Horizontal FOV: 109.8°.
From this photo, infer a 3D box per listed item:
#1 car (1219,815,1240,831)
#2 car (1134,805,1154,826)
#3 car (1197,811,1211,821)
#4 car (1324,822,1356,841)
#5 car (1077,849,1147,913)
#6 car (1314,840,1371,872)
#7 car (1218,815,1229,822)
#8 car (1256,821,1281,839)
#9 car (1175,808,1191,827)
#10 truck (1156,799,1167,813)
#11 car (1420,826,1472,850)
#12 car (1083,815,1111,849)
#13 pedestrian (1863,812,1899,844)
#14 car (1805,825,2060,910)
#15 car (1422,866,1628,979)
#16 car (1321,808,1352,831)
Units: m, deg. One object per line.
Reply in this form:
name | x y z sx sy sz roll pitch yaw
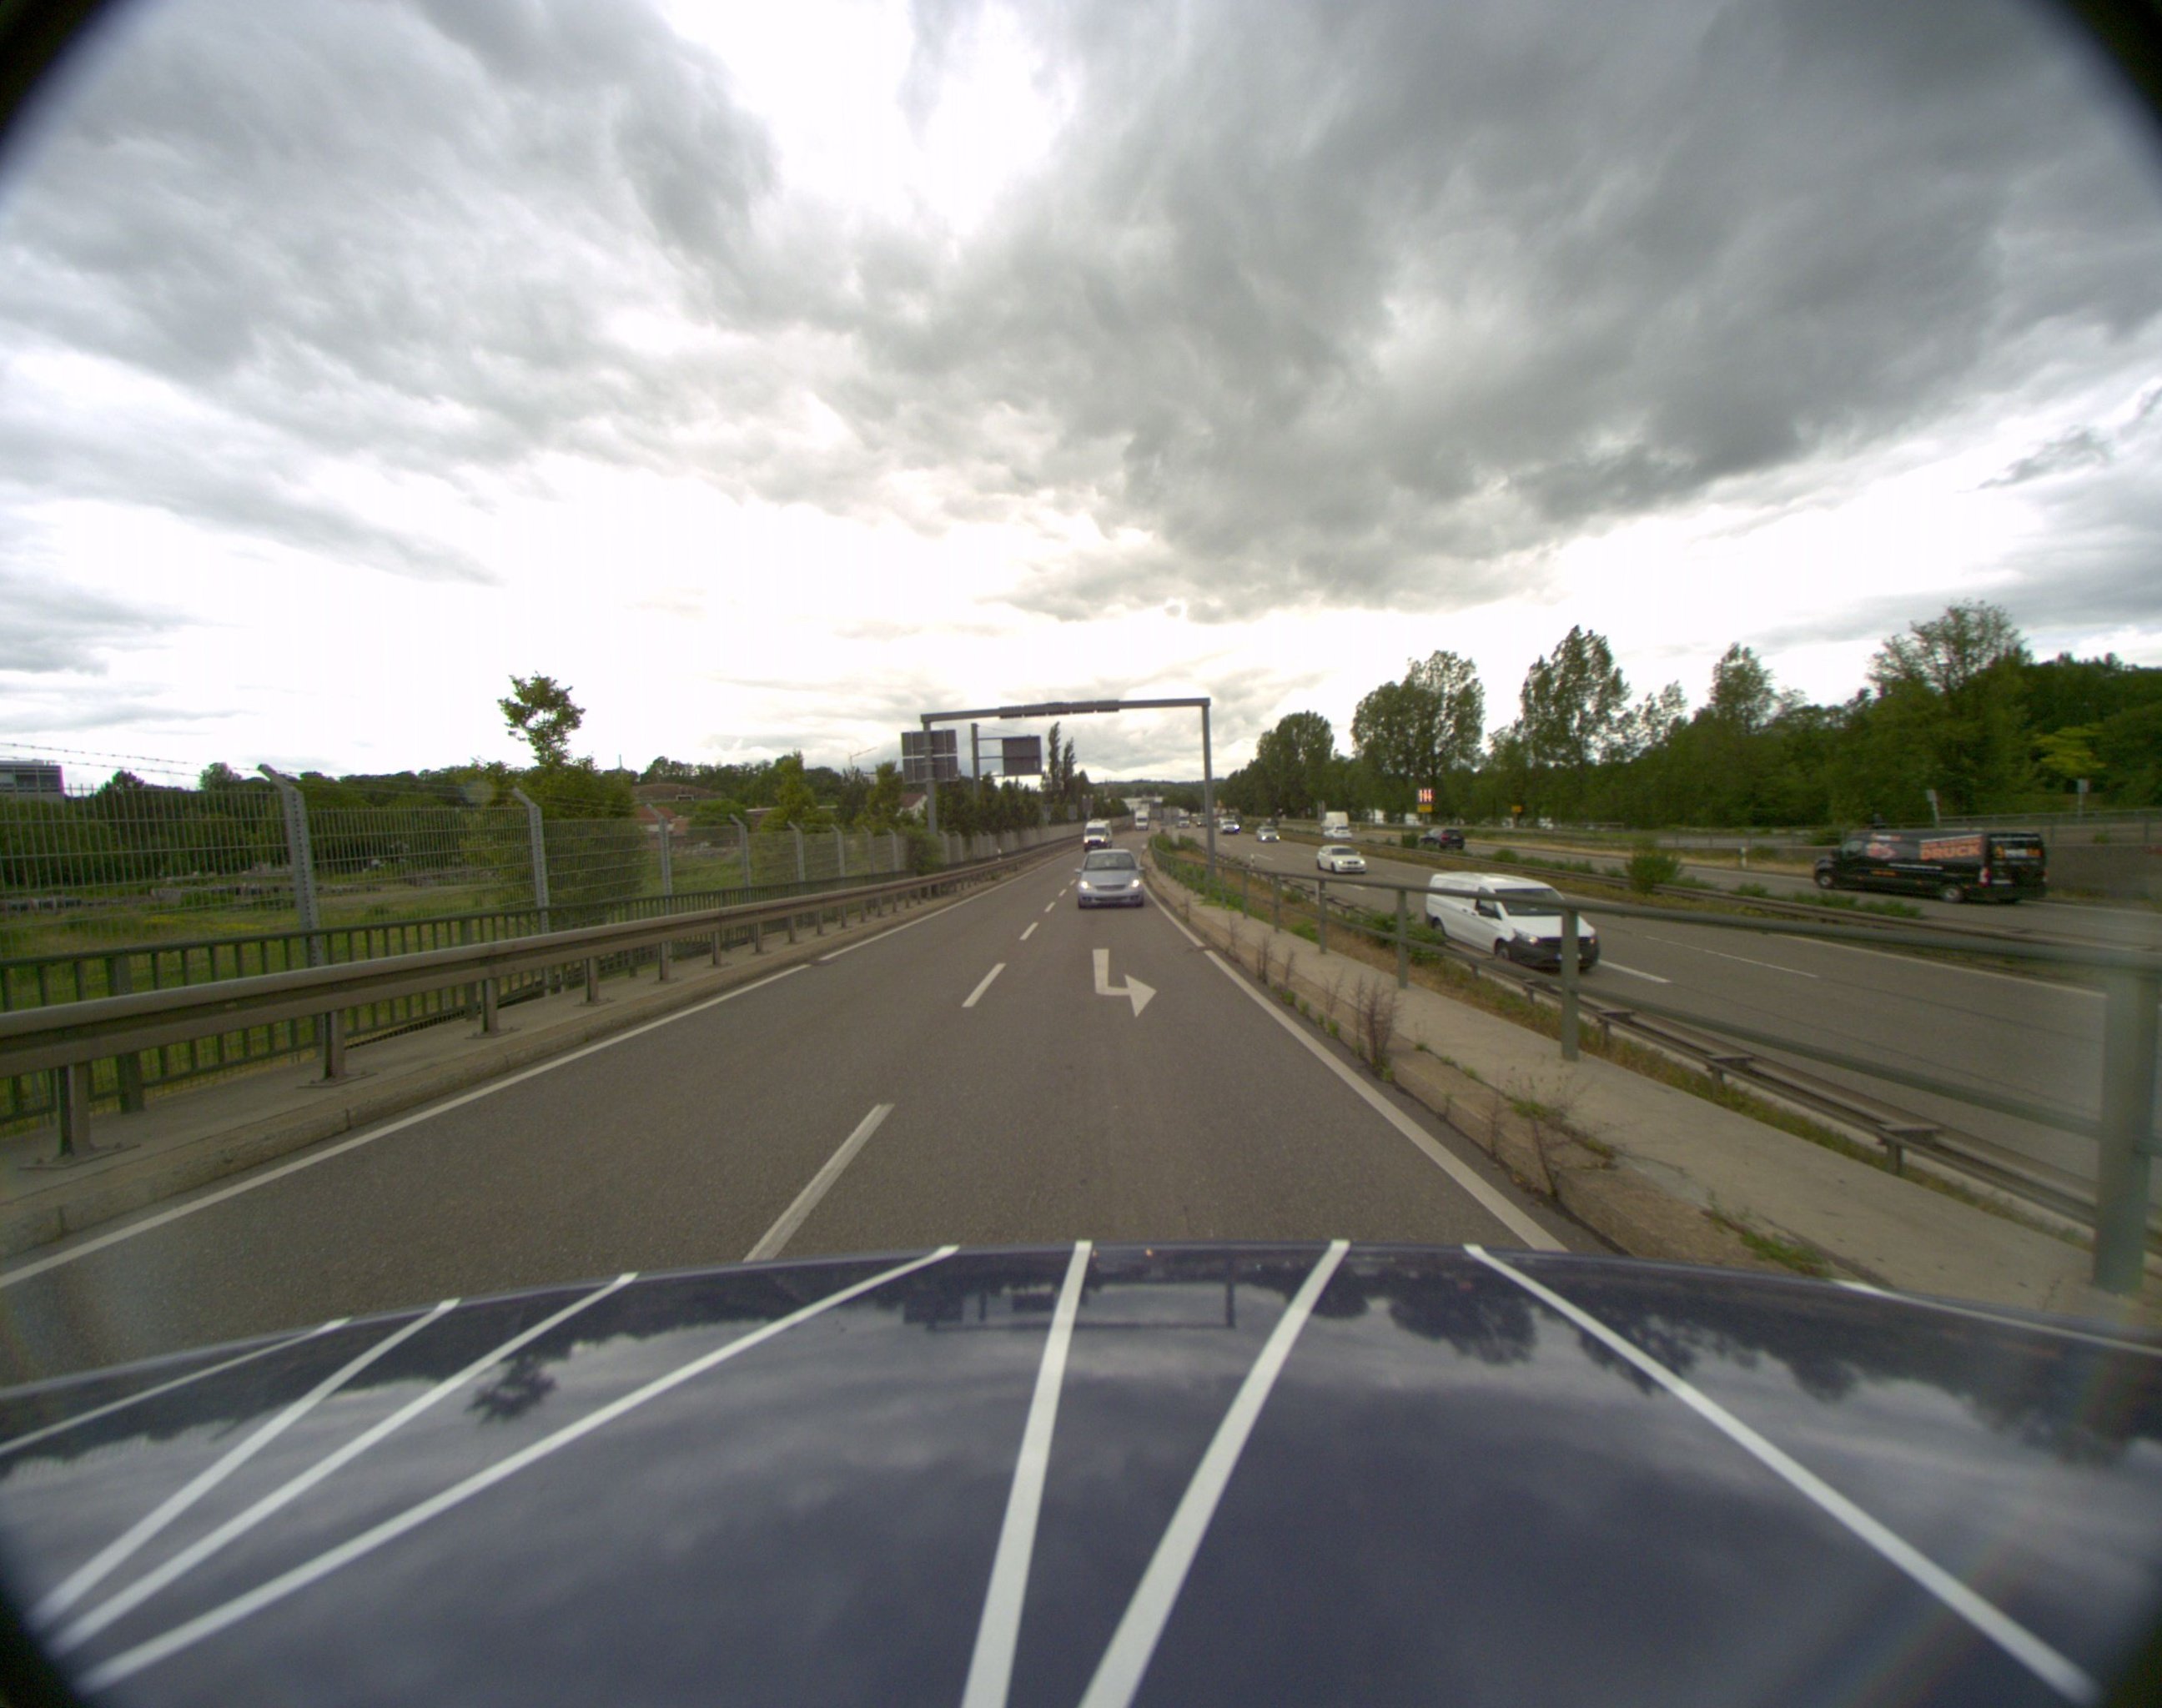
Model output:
car | 19.133 -4.020 97.865 1.954 1.925 4.893 -2 4 3
car | 10.656 -6.400 127.849 2.663 3.311 7.093 -2 2 10
car | 22.705 -7.016 140.162 1.845 1.704 4.276 -3 4 0
car | 24.896 -2.169 73.193 1.761 1.641 3.929 -2 4 0
car | 0.819 0.678 21.730 1.781 1.578 3.999 -2 1 0
car | 14.341 0.055 41.889 1.747 1.444 4.163 -2 3 0
car | 36.260 -9.078 193.551 1.903 1.641 3.930 -2 3 1
car | 18.790 -2.429 76.358 1.560 1.544 3.680 -2 4 0
car | 18.776 -6.846 139.965 2.366 3.224 7.656 -1 4 4
truck | 25.293 -15.037 239.356 2.758 4.229 6.693 -1 4 0
car | 27.697 -1.263 57.847 1.903 1.641 4.330 -1 4 1
car | 1.472 -1.865 67.203 2.115 2.767 6.780 -2 1 4
pedestrian | 45.186 -1.474 42.930 0.832 1.696 1.077 -3 4 1
car | 30.231 0.314 27.447 2.250 2.533 6.110 -2 4 0
car | 10.454 1.484 18.516 1.998 1.867 5.195 -2 4 1
car | 32.841 -4.528 97.847 2.215 2.765 5.357 -1 4 1
